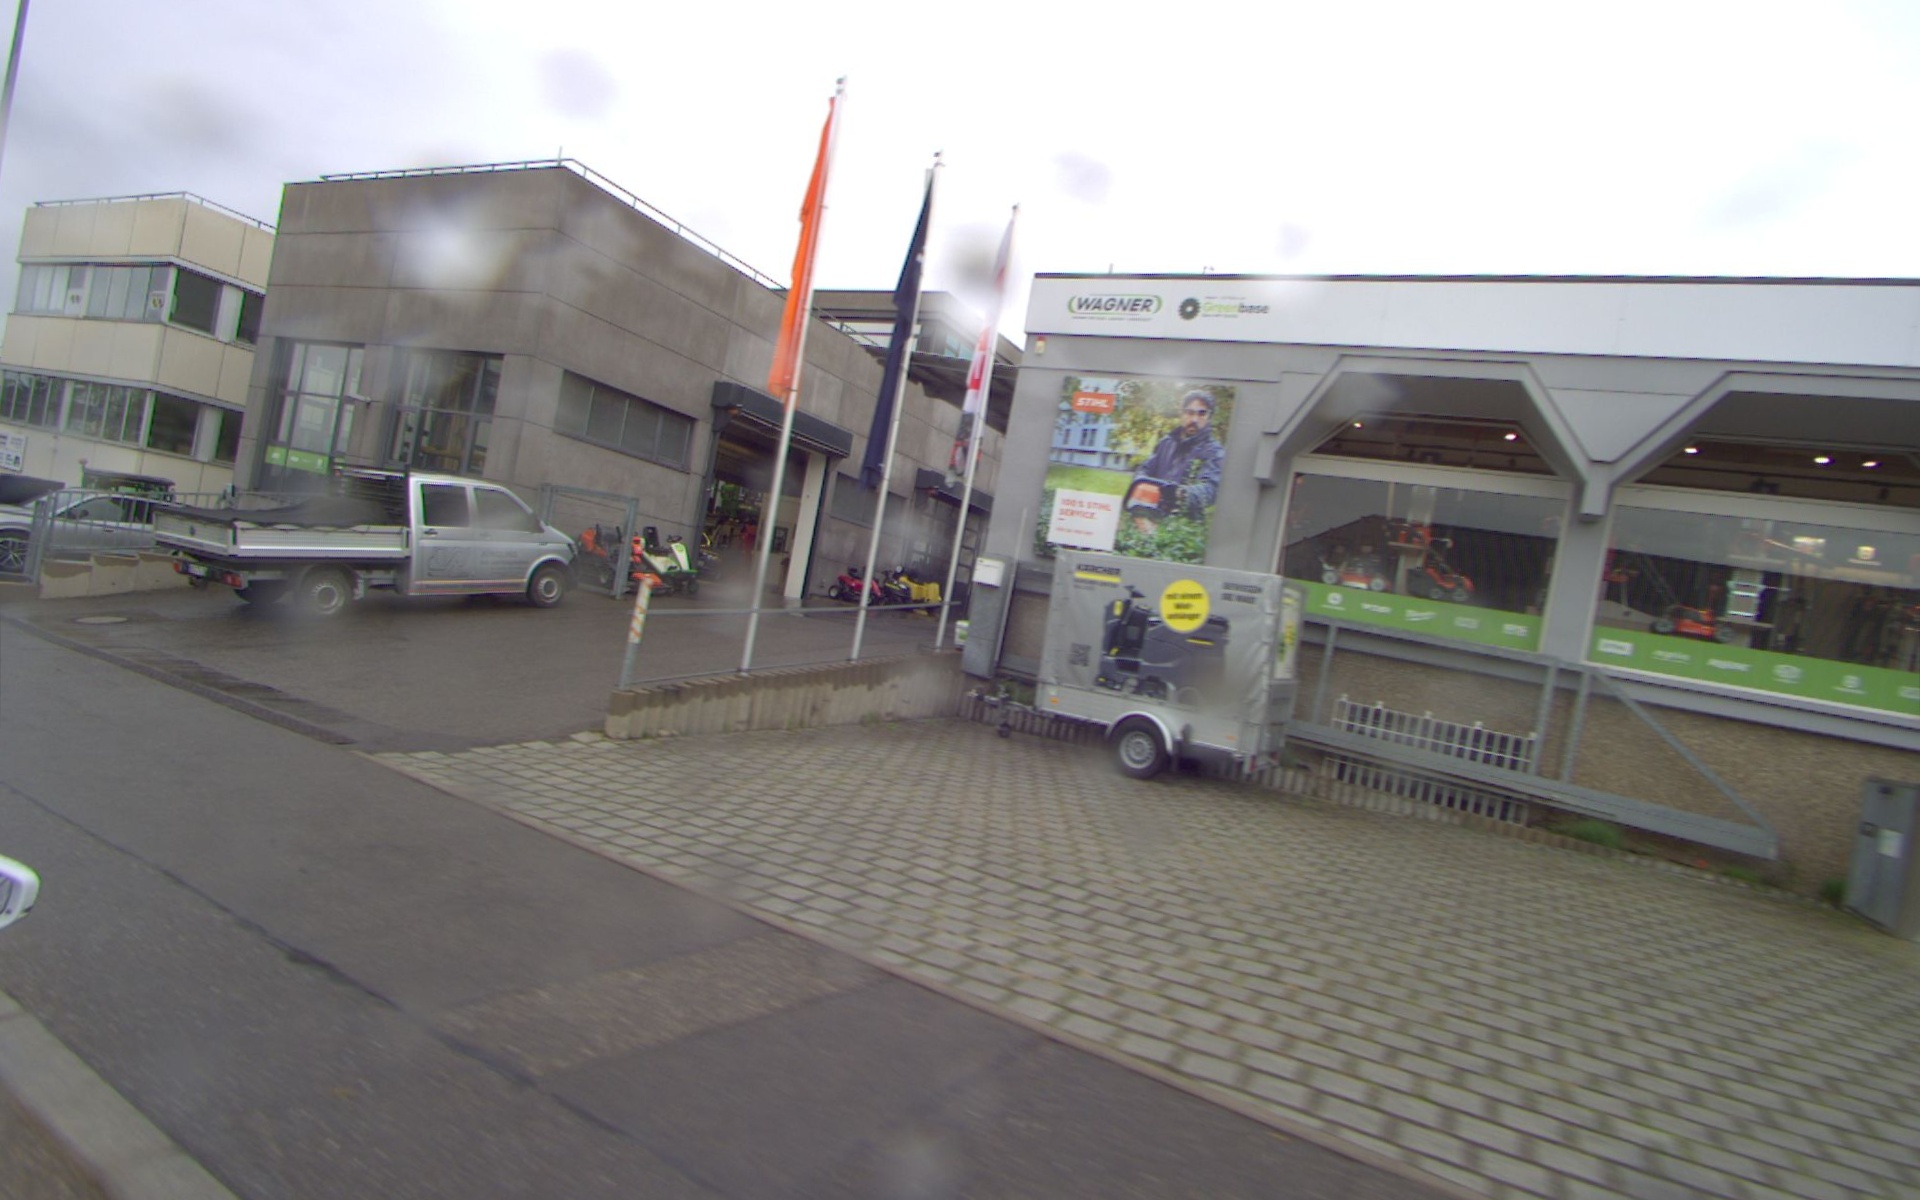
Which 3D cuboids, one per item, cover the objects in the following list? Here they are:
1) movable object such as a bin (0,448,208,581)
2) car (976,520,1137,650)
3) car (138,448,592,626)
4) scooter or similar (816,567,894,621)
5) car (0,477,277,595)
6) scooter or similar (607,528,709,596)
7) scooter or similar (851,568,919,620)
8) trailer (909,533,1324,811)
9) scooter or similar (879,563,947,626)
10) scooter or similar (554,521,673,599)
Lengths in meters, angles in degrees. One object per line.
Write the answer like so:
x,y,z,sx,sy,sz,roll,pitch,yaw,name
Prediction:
-17.808,-1.708,19.932,1.451,2.135,4.264,7,-1,29,movable object such as a bin
2.701,-0.281,26.658,1.965,2.651,5.404,10,0,28,car
-8.250,-0.922,14.640,2.183,2.043,5.294,6,6,28,car
-2.851,-0.161,27.276,1.739,1.188,1.000,7,-1,30,scooter or similar
-16.221,-1.231,18.996,1.891,1.633,5.104,8,-1,28,car
-6.257,-0.787,20.828,1.814,1.171,1.004,7,3,32,scooter or similar
-2.147,-0.172,28.746,1.561,1.233,0.933,7,-1,25,scooter or similar
1.816,0.740,12.011,4.235,2.445,1.891,8,0,30,trailer
-1.378,-0.158,29.787,1.561,1.598,0.966,7,0,25,scooter or similar
-6.798,-0.791,19.731,2.030,1.241,1.064,9,4,31,scooter or similar
